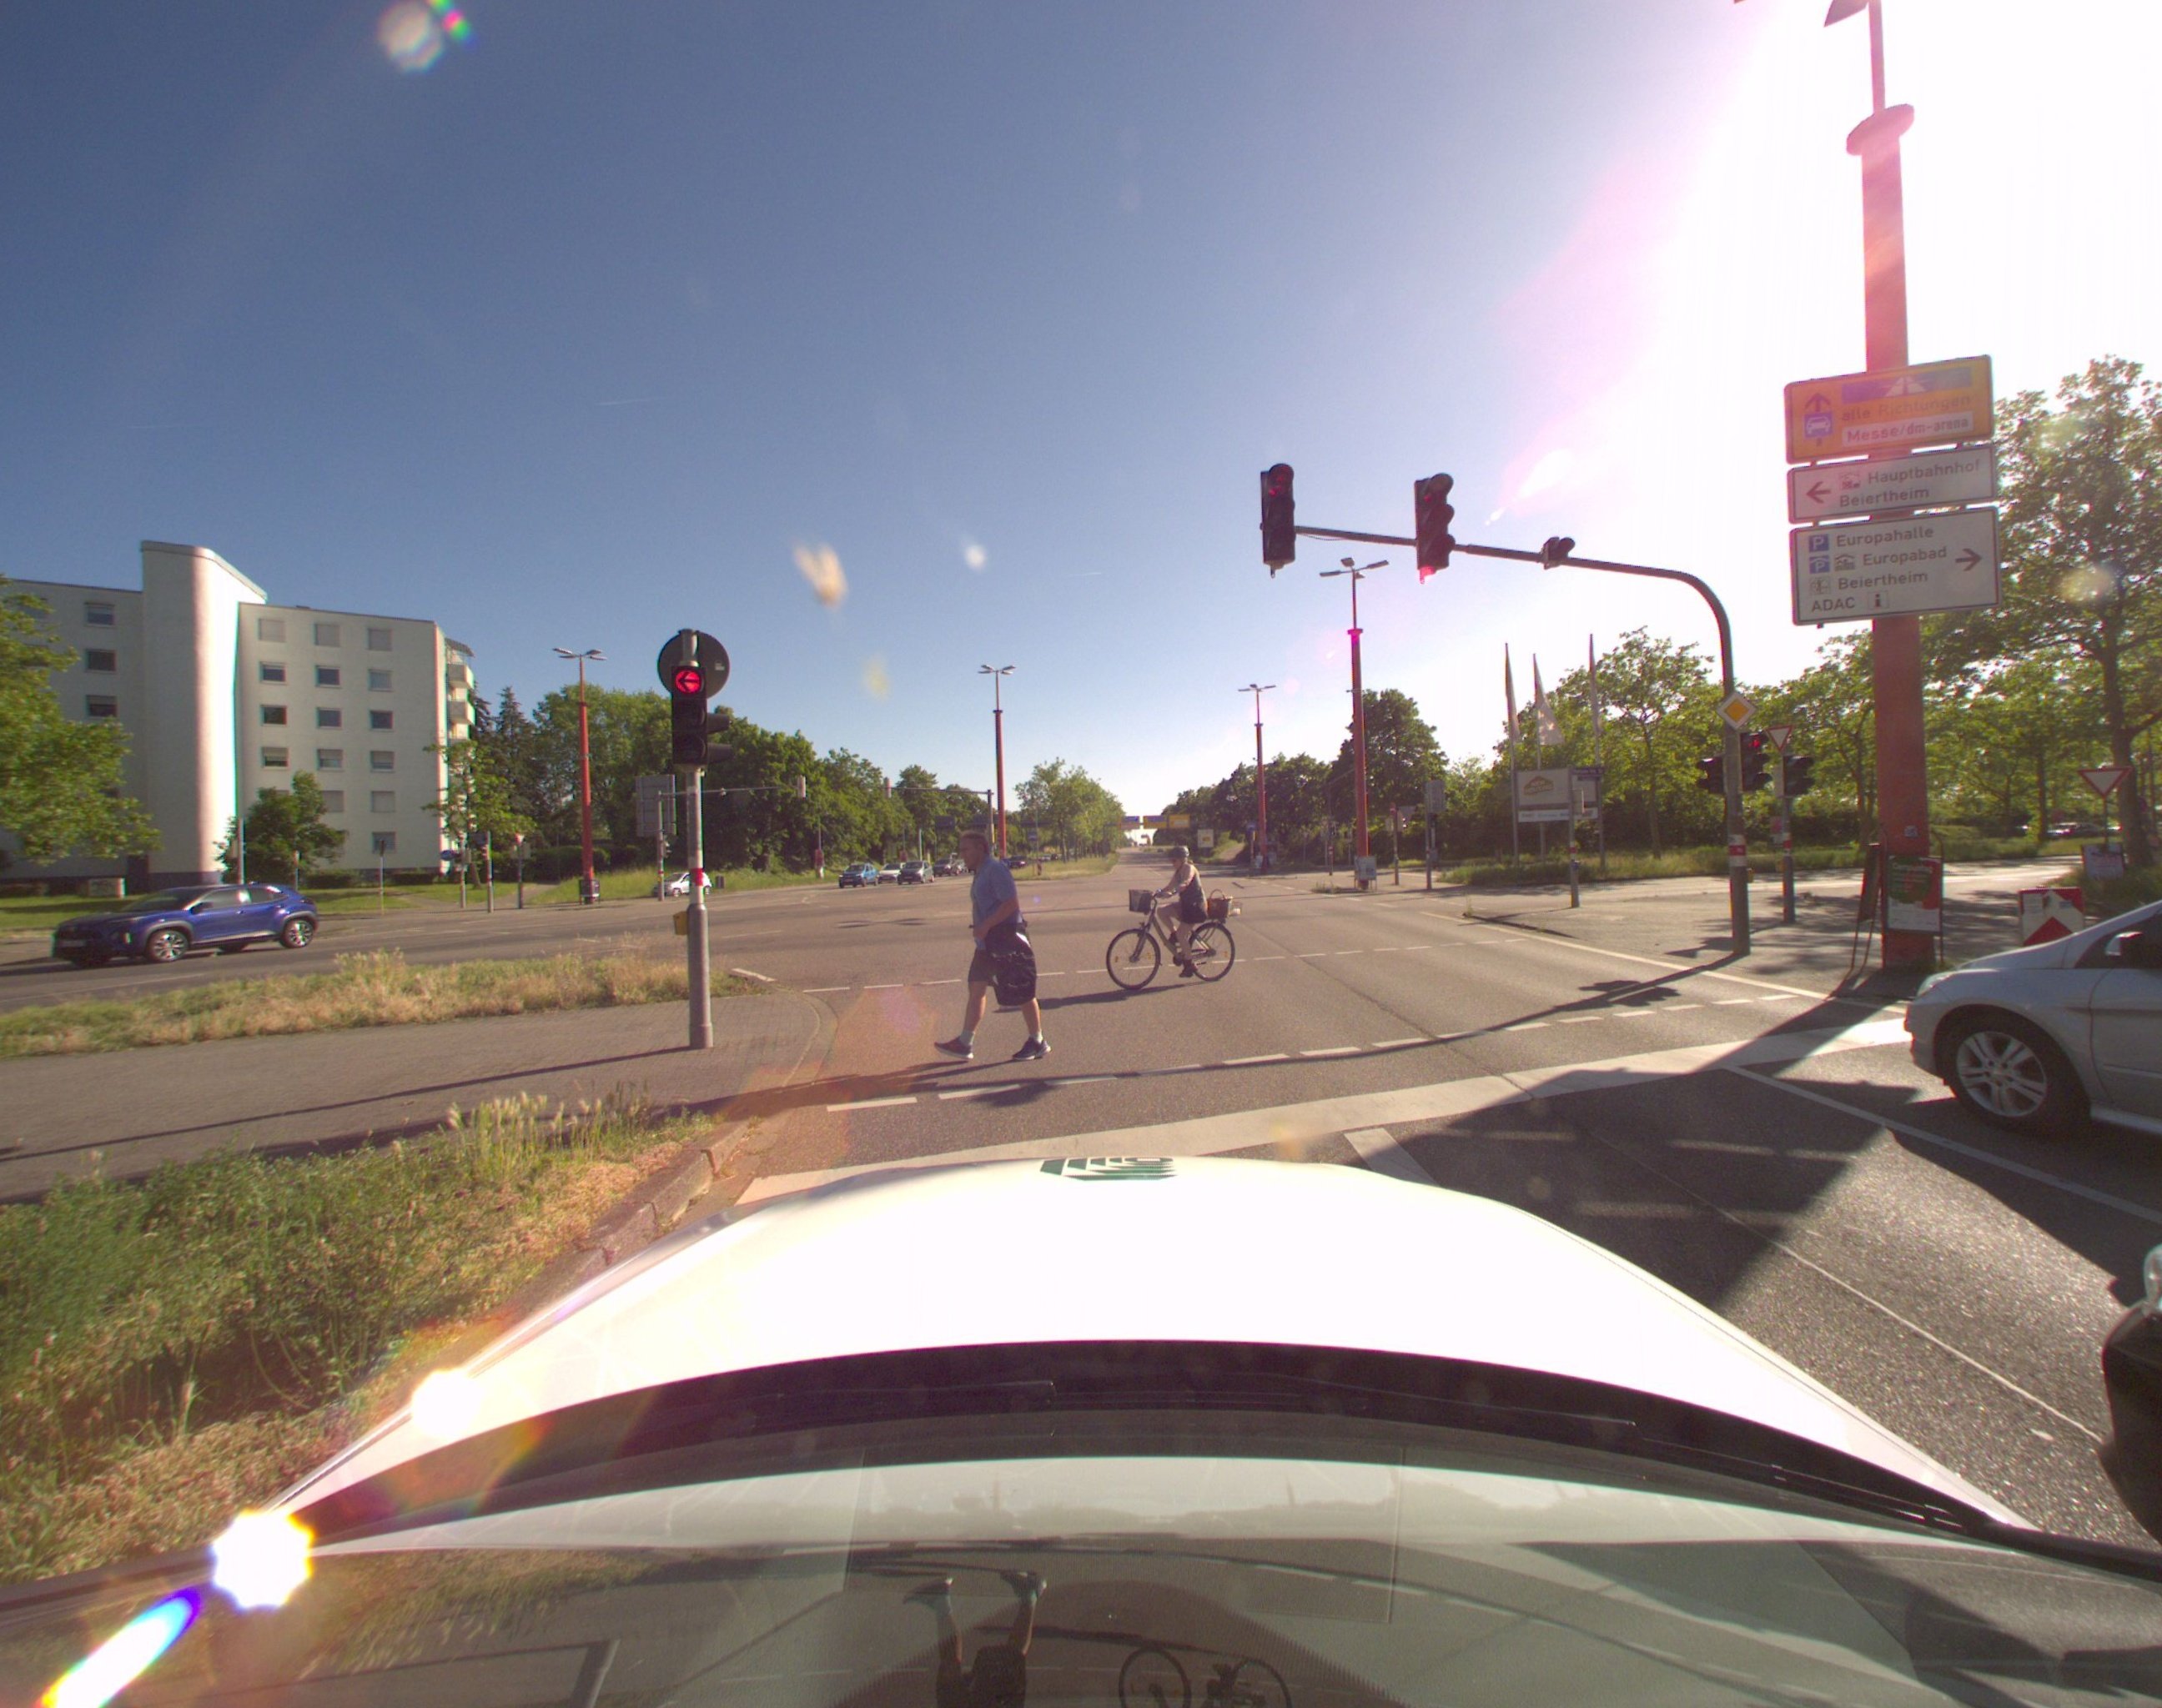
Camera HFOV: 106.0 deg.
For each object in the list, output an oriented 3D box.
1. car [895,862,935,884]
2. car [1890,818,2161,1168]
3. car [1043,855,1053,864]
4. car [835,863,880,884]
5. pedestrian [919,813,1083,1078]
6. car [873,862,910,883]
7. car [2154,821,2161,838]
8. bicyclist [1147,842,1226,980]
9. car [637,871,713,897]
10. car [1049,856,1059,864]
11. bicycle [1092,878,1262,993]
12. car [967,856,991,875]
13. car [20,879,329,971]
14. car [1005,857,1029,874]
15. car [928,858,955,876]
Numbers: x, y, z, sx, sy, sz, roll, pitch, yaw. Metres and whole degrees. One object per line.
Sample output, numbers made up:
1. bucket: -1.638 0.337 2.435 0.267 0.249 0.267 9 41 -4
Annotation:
1. car: -10.601 1.188 52.309 1.733 1.243 3.613 -2 0 1
2. car: 5.674 0.600 2.865 1.732 1.578 4.032 -2 0 3
3. car: -6.795 1.113 167.730 1.791 1.640 4.000 -2 0 1
4. car: -14.085 1.210 51.422 1.733 1.243 3.613 -2 0 1
5. pedestrian: -0.635 0.616 6.160 0.988 1.794 0.948 -1 0 -20
6. car: -13.722 1.322 59.253 1.733 1.411 3.613 -2 0 1
7. car: 94.791 -2.199 70.087 3.991 1.467 1.674 -2 0 -17
8. bicyclist: 1.274 0.666 9.897 0.664 1.584 0.667 -2 0 -26
9. car: -24.740 1.810 49.786 1.736 1.398 4.019 -2 0 19
10. car: -6.040 1.252 181.067 1.812 1.629 4.002 -2 0 2
11. bicycle: 1.175 0.932 9.841 1.952 1.195 0.686 -2 0 -26
12. car: -11.366 1.259 91.447 1.886 2.026 5.224 -2 0 1
13. car: -19.270 1.430 17.661 1.986 1.574 4.108 -2 0 2
14. car: -6.209 1.081 79.492 1.812 1.508 4.002 -2 0 2
15. car: -12.812 1.171 74.994 1.733 1.612 3.613 -2 0 1
